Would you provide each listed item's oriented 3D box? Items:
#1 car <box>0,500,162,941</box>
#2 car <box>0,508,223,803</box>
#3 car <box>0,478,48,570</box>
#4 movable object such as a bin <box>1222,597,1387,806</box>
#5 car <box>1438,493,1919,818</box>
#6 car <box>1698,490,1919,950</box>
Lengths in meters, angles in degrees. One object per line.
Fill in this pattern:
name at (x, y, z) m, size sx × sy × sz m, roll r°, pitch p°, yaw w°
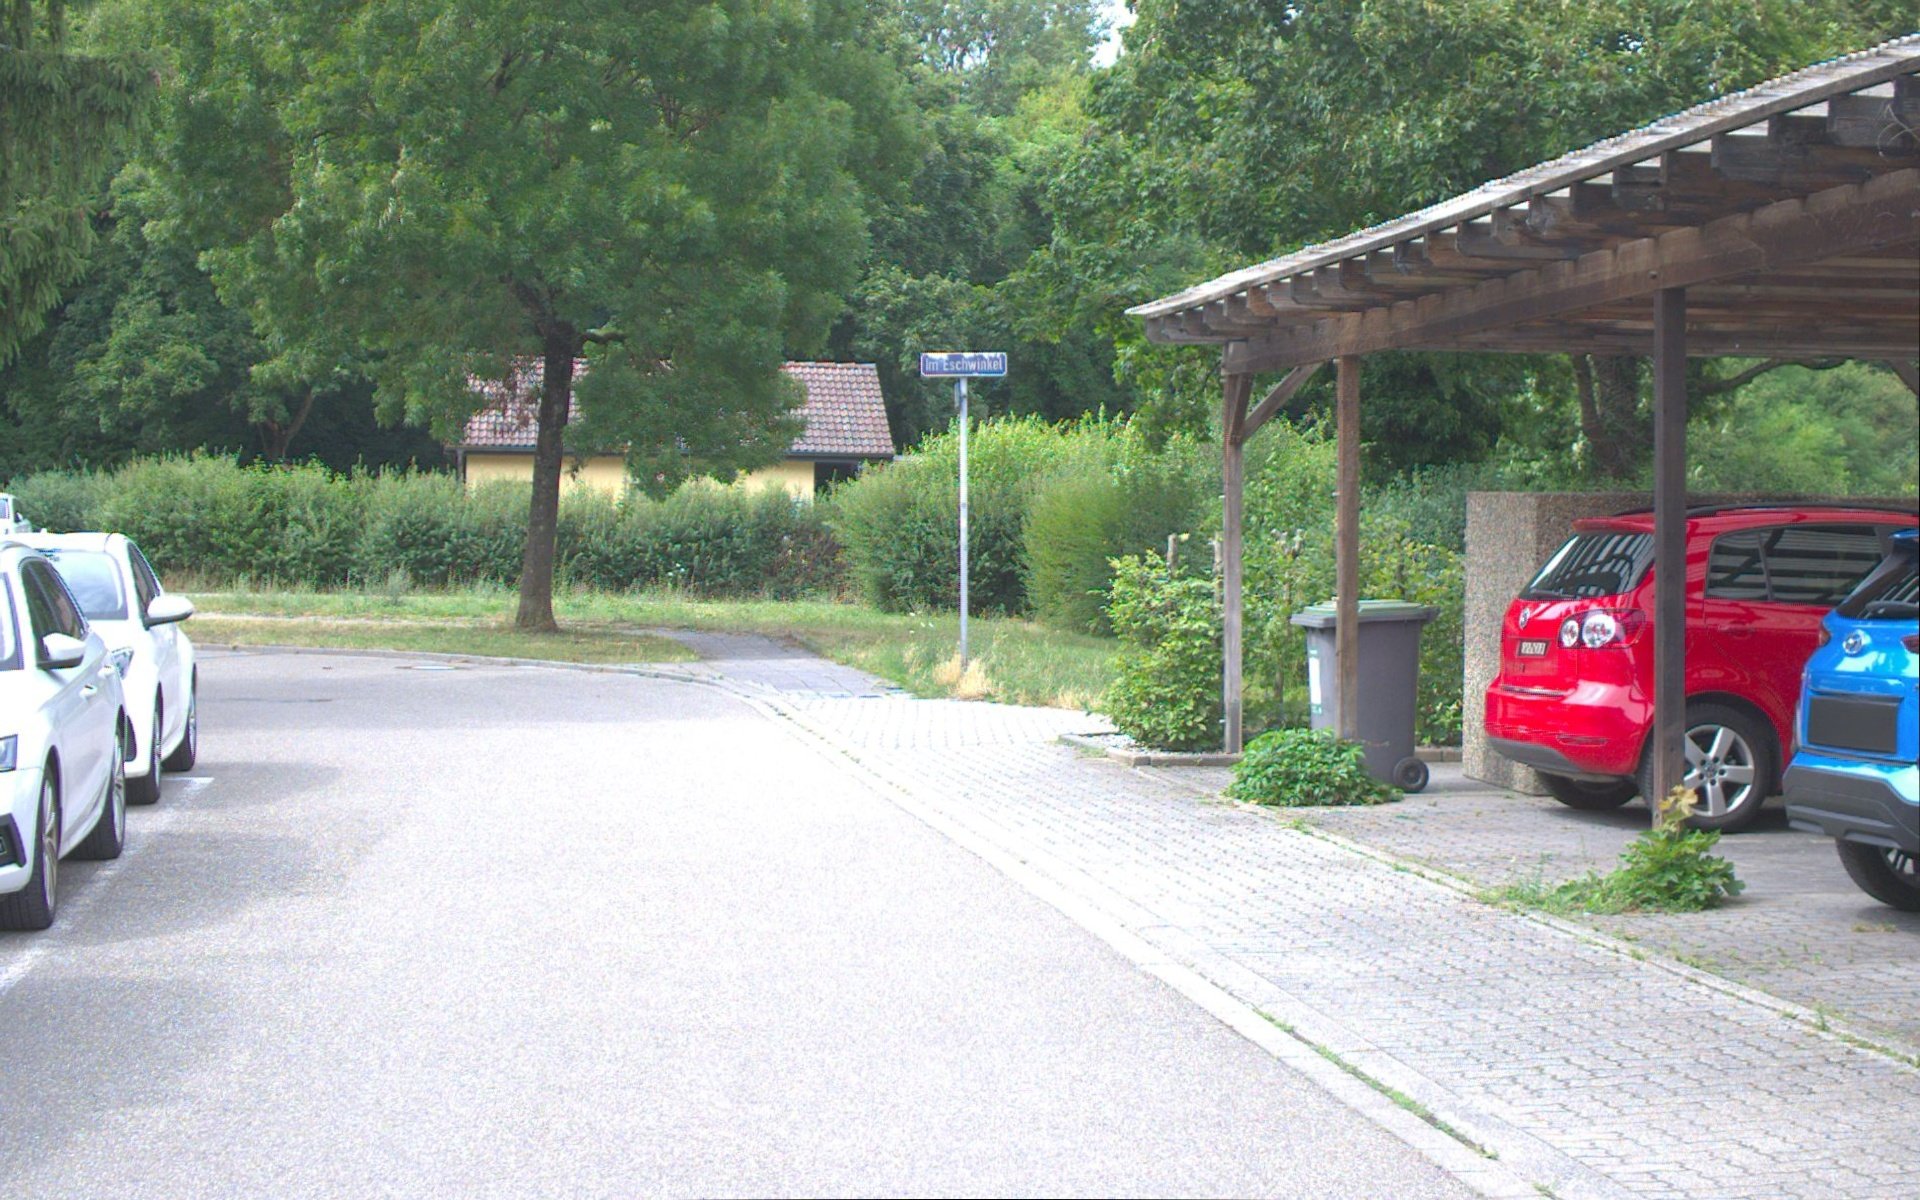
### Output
car at (-4.484, 0.362, 14.405) m, size 1.809 × 1.556 × 4.849 m, roll 0°, pitch 1°, yaw -8°
car at (-5.336, 0.235, 19.800) m, size 1.791 × 1.526 × 4.141 m, roll 0°, pitch 1°, yaw -7°
car at (-18.348, -1.445, 64.294) m, size 1.937 × 1.654 × 4.342 m, roll 1°, pitch 1°, yaw -7°
movable object such as a bin at (1.833, 0.531, 18.350) m, size 0.699 × 1.068 × 0.712 m, roll -1°, pitch 1°, yaw -11°
car at (4.626, 0.240, 17.486) m, size 3.956 × 1.535 × 1.840 m, roll 0°, pitch 1°, yaw -10°
car at (4.998, 0.376, 12.572) m, size 4.045 × 1.517 × 1.951 m, roll 0°, pitch 1°, yaw -10°
